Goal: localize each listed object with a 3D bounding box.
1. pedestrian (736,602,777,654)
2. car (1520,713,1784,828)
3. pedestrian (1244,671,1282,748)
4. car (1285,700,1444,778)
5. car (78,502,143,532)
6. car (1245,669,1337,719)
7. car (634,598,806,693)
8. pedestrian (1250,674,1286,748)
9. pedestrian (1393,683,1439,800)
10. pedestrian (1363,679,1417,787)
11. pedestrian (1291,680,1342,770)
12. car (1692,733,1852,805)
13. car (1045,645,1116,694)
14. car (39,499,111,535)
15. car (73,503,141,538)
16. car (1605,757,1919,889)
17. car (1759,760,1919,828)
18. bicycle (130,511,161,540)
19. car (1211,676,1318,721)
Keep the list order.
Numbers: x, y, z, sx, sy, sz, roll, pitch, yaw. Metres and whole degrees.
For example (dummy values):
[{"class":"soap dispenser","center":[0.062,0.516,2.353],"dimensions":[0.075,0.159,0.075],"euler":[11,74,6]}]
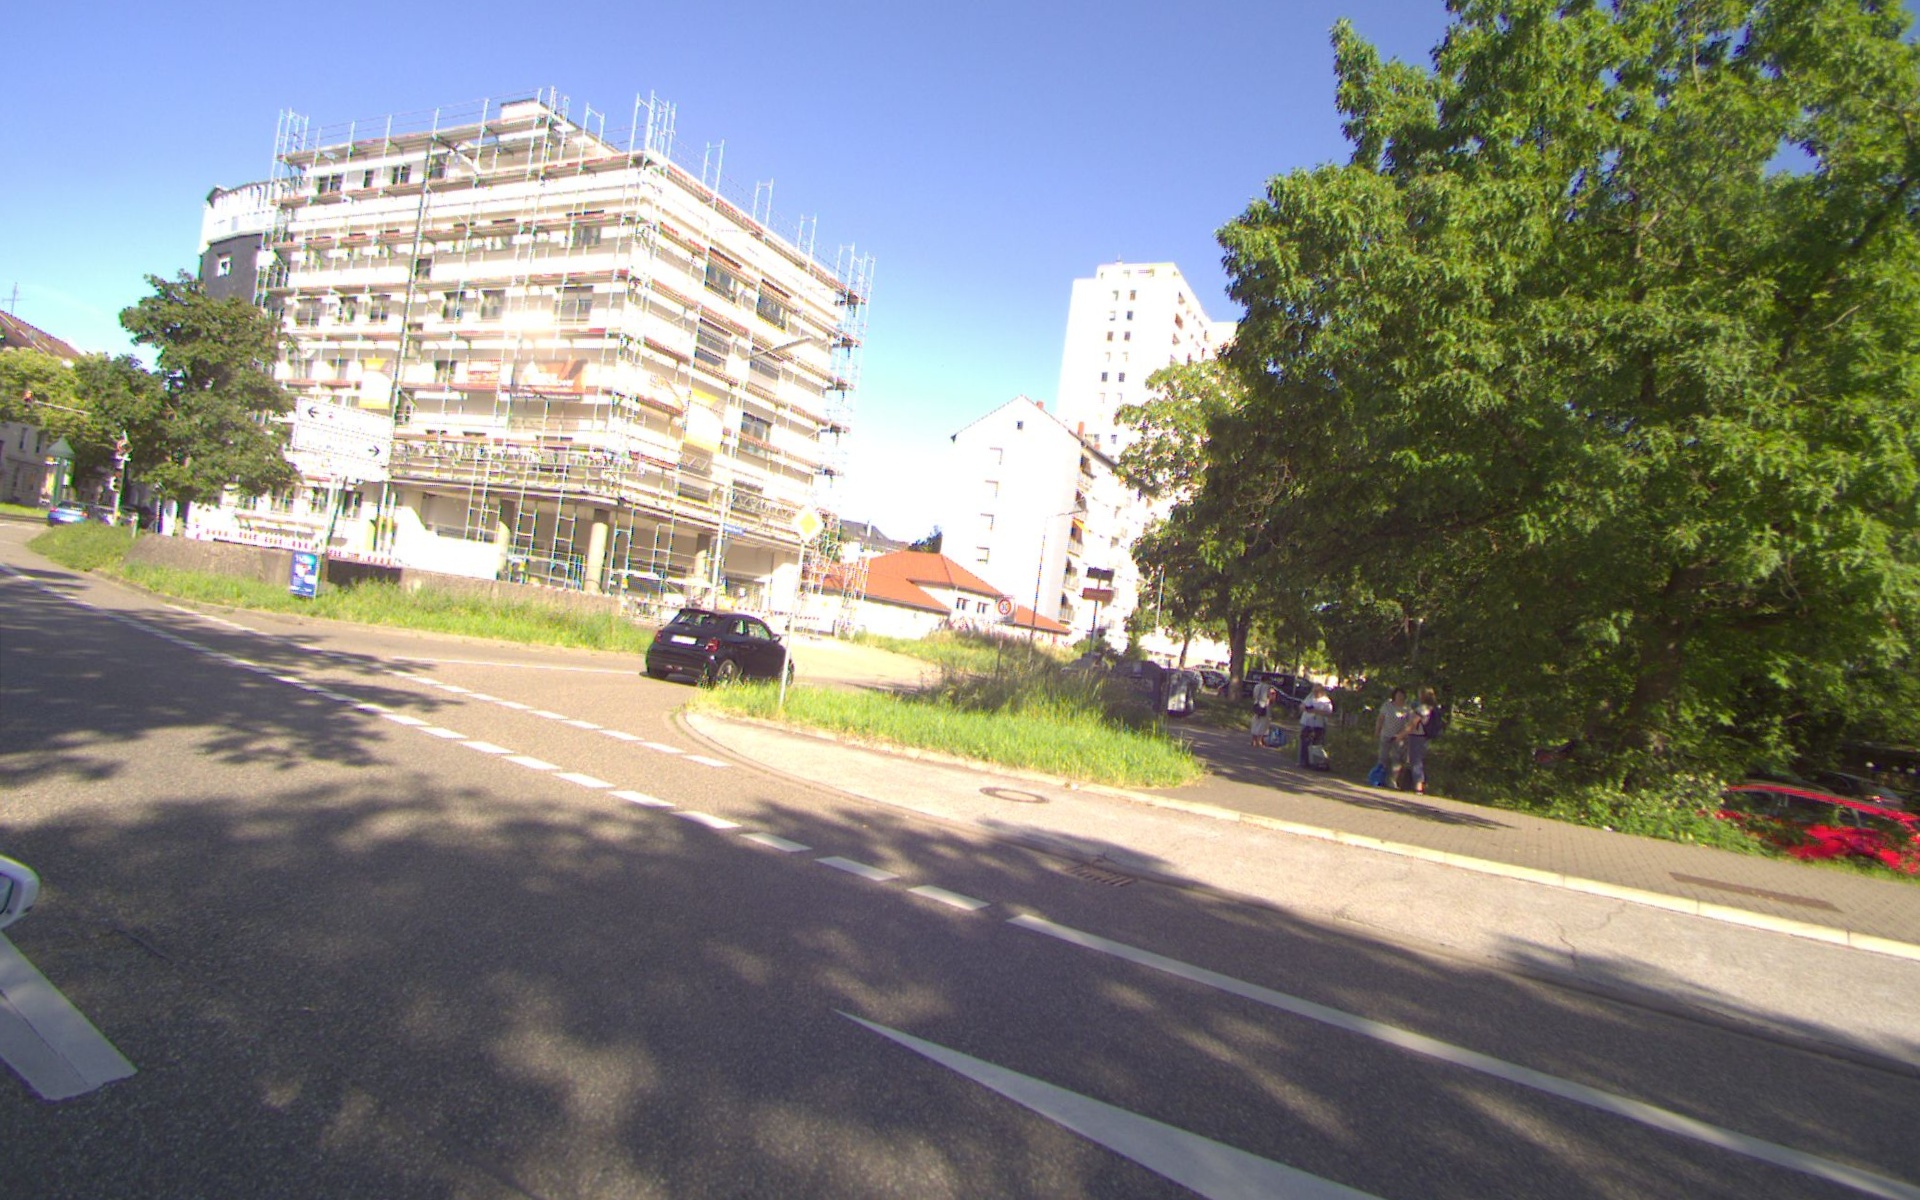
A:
[{"class":"pedestrian","center":[-6.581,0.912,32.513],"dimensions":[0.892,1.515,0.652],"euler":[7,-1,22]},{"class":"car","center":[16.155,3.948,23.821],"dimensions":[4.809,1.555,1.998],"euler":[9,-2,33]},{"class":"pedestrian","center":[6.847,2.484,22.743],"dimensions":[0.557,1.637,0.705],"euler":[7,-2,25]},{"class":"car","center":[12.031,4.106,29.975],"dimensions":[3.936,1.625,1.997],"euler":[6,-4,34]},{"class":"car","center":[-65.455,-6.377,77.536],"dimensions":[3.925,1.612,1.912],"euler":[8,-1,18]},{"class":"car","center":[18.346,5.205,55.745],"dimensions":[4.281,2.097,1.997],"euler":[7,-2,33]},{"class":"car","center":[-4.687,0.954,20.182],"dimensions":[1.648,1.520,3.566],"euler":[8,-2,16]},{"class":"pedestrian","center":[7.214,2.588,23.556],"dimensions":[0.557,1.637,0.599],"euler":[7,-2,25]},{"class":"pedestrian","center":[7.060,2.175,15.575],"dimensions":[0.403,1.720,0.603],"euler":[7,-1,30]},{"class":"pedestrian","center":[6.969,2.144,16.307],"dimensions":[0.542,1.653,0.623],"euler":[7,-1,31]},{"class":"pedestrian","center":[6.536,2.281,18.453],"dimensions":[0.603,1.536,0.528],"euler":[7,-1,33]},{"class":"car","center":[28.549,5.905,35.553],"dimensions":[1.966,1.620,3.995],"euler":[9,-1,-8]},{"class":"car","center":[6.067,3.494,50.167],"dimensions":[1.965,2.036,3.998],"euler":[7,-2,28]},{"class":"car","center":[-45.628,-4.247,51.961],"dimensions":[1.761,1.459,3.595],"euler":[9,-2,-27]},{"class":"car","center":[-47.732,-4.418,56.396],"dimensions":[1.804,1.525,3.975],"euler":[8,-1,-26]},{"class":"car","center":[12.725,3.482,16.096],"dimensions":[3.845,1.168,1.400],"euler":[7,-2,29]},{"class":"car","center":[31.304,6.876,36.001],"dimensions":[1.755,1.466,3.995],"euler":[9,-1,-8]},{"class":"bicycle","center":[-47.348,-4.319,58.508],"dimensions":[0.568,1.528,2.790],"euler":[8,-1,-26]},{"class":"car","center":[13.268,4.292,43.924],"dimensions":[3.941,1.312,1.995],"euler":[5,-4,38]}]
